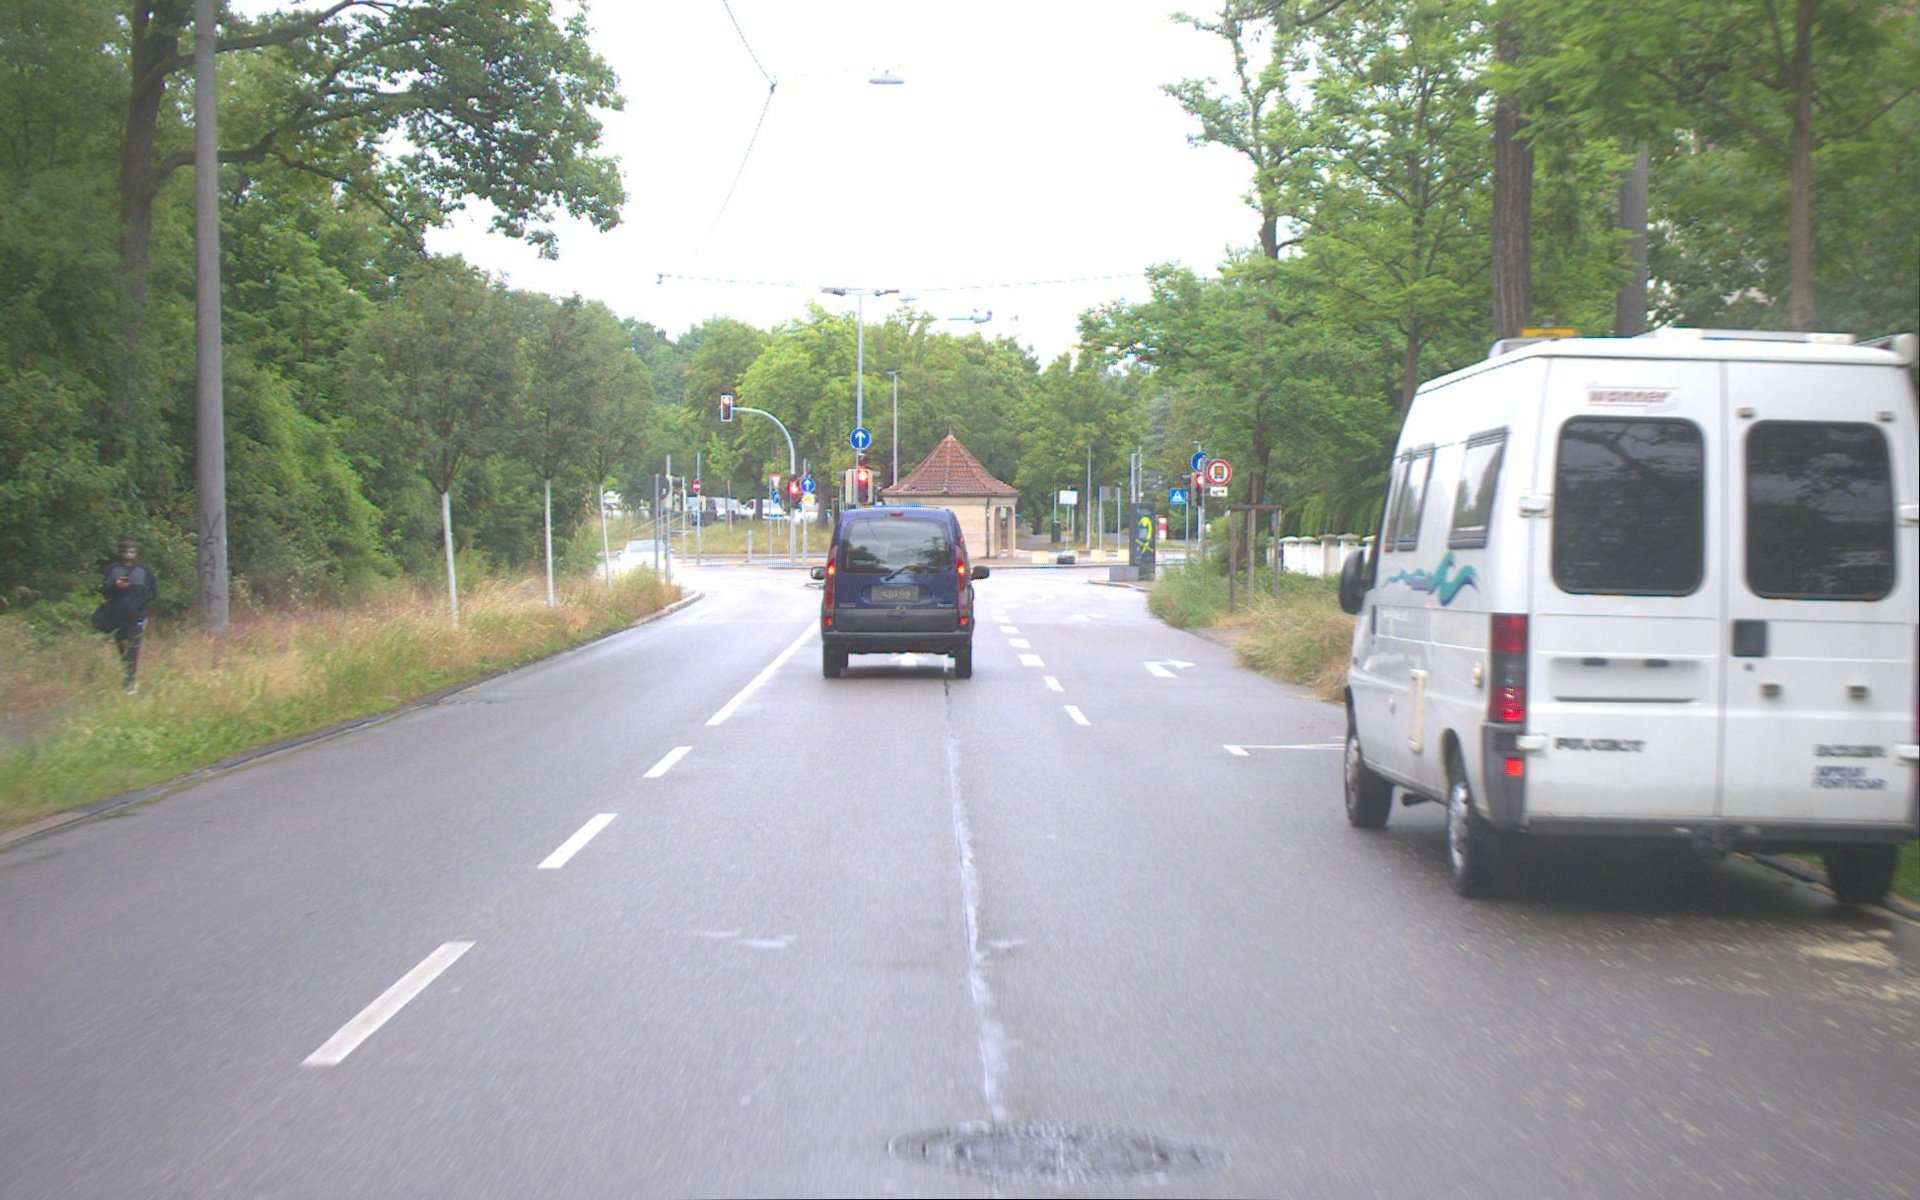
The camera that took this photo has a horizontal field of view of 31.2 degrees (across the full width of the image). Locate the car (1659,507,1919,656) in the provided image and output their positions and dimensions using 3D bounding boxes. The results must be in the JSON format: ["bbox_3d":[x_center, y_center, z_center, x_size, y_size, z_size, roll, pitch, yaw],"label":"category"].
[{"bbox_3d":[11.278,-0.239,44.472,4.306,1.811,1.873,1,1,10],"label":"car"}]

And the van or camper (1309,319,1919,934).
[{"bbox_3d":[3.133,0.063,17.087,2.037,2.471,5.639,3,1,-1],"label":"van or camper"}]

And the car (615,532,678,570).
[{"bbox_3d":[-11.635,-1.823,127.500,1.993,1.307,4.361,-2,2,-9],"label":"car"}]

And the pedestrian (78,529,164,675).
[{"bbox_3d":[-9.341,0.017,38.282,0.781,1.602,0.732,0,1,-1],"label":"pedestrian"}]

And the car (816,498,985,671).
[{"bbox_3d":[-0.651,-0.210,38.032,1.731,1.780,4.000,1,1,-1],"label":"car"}]
